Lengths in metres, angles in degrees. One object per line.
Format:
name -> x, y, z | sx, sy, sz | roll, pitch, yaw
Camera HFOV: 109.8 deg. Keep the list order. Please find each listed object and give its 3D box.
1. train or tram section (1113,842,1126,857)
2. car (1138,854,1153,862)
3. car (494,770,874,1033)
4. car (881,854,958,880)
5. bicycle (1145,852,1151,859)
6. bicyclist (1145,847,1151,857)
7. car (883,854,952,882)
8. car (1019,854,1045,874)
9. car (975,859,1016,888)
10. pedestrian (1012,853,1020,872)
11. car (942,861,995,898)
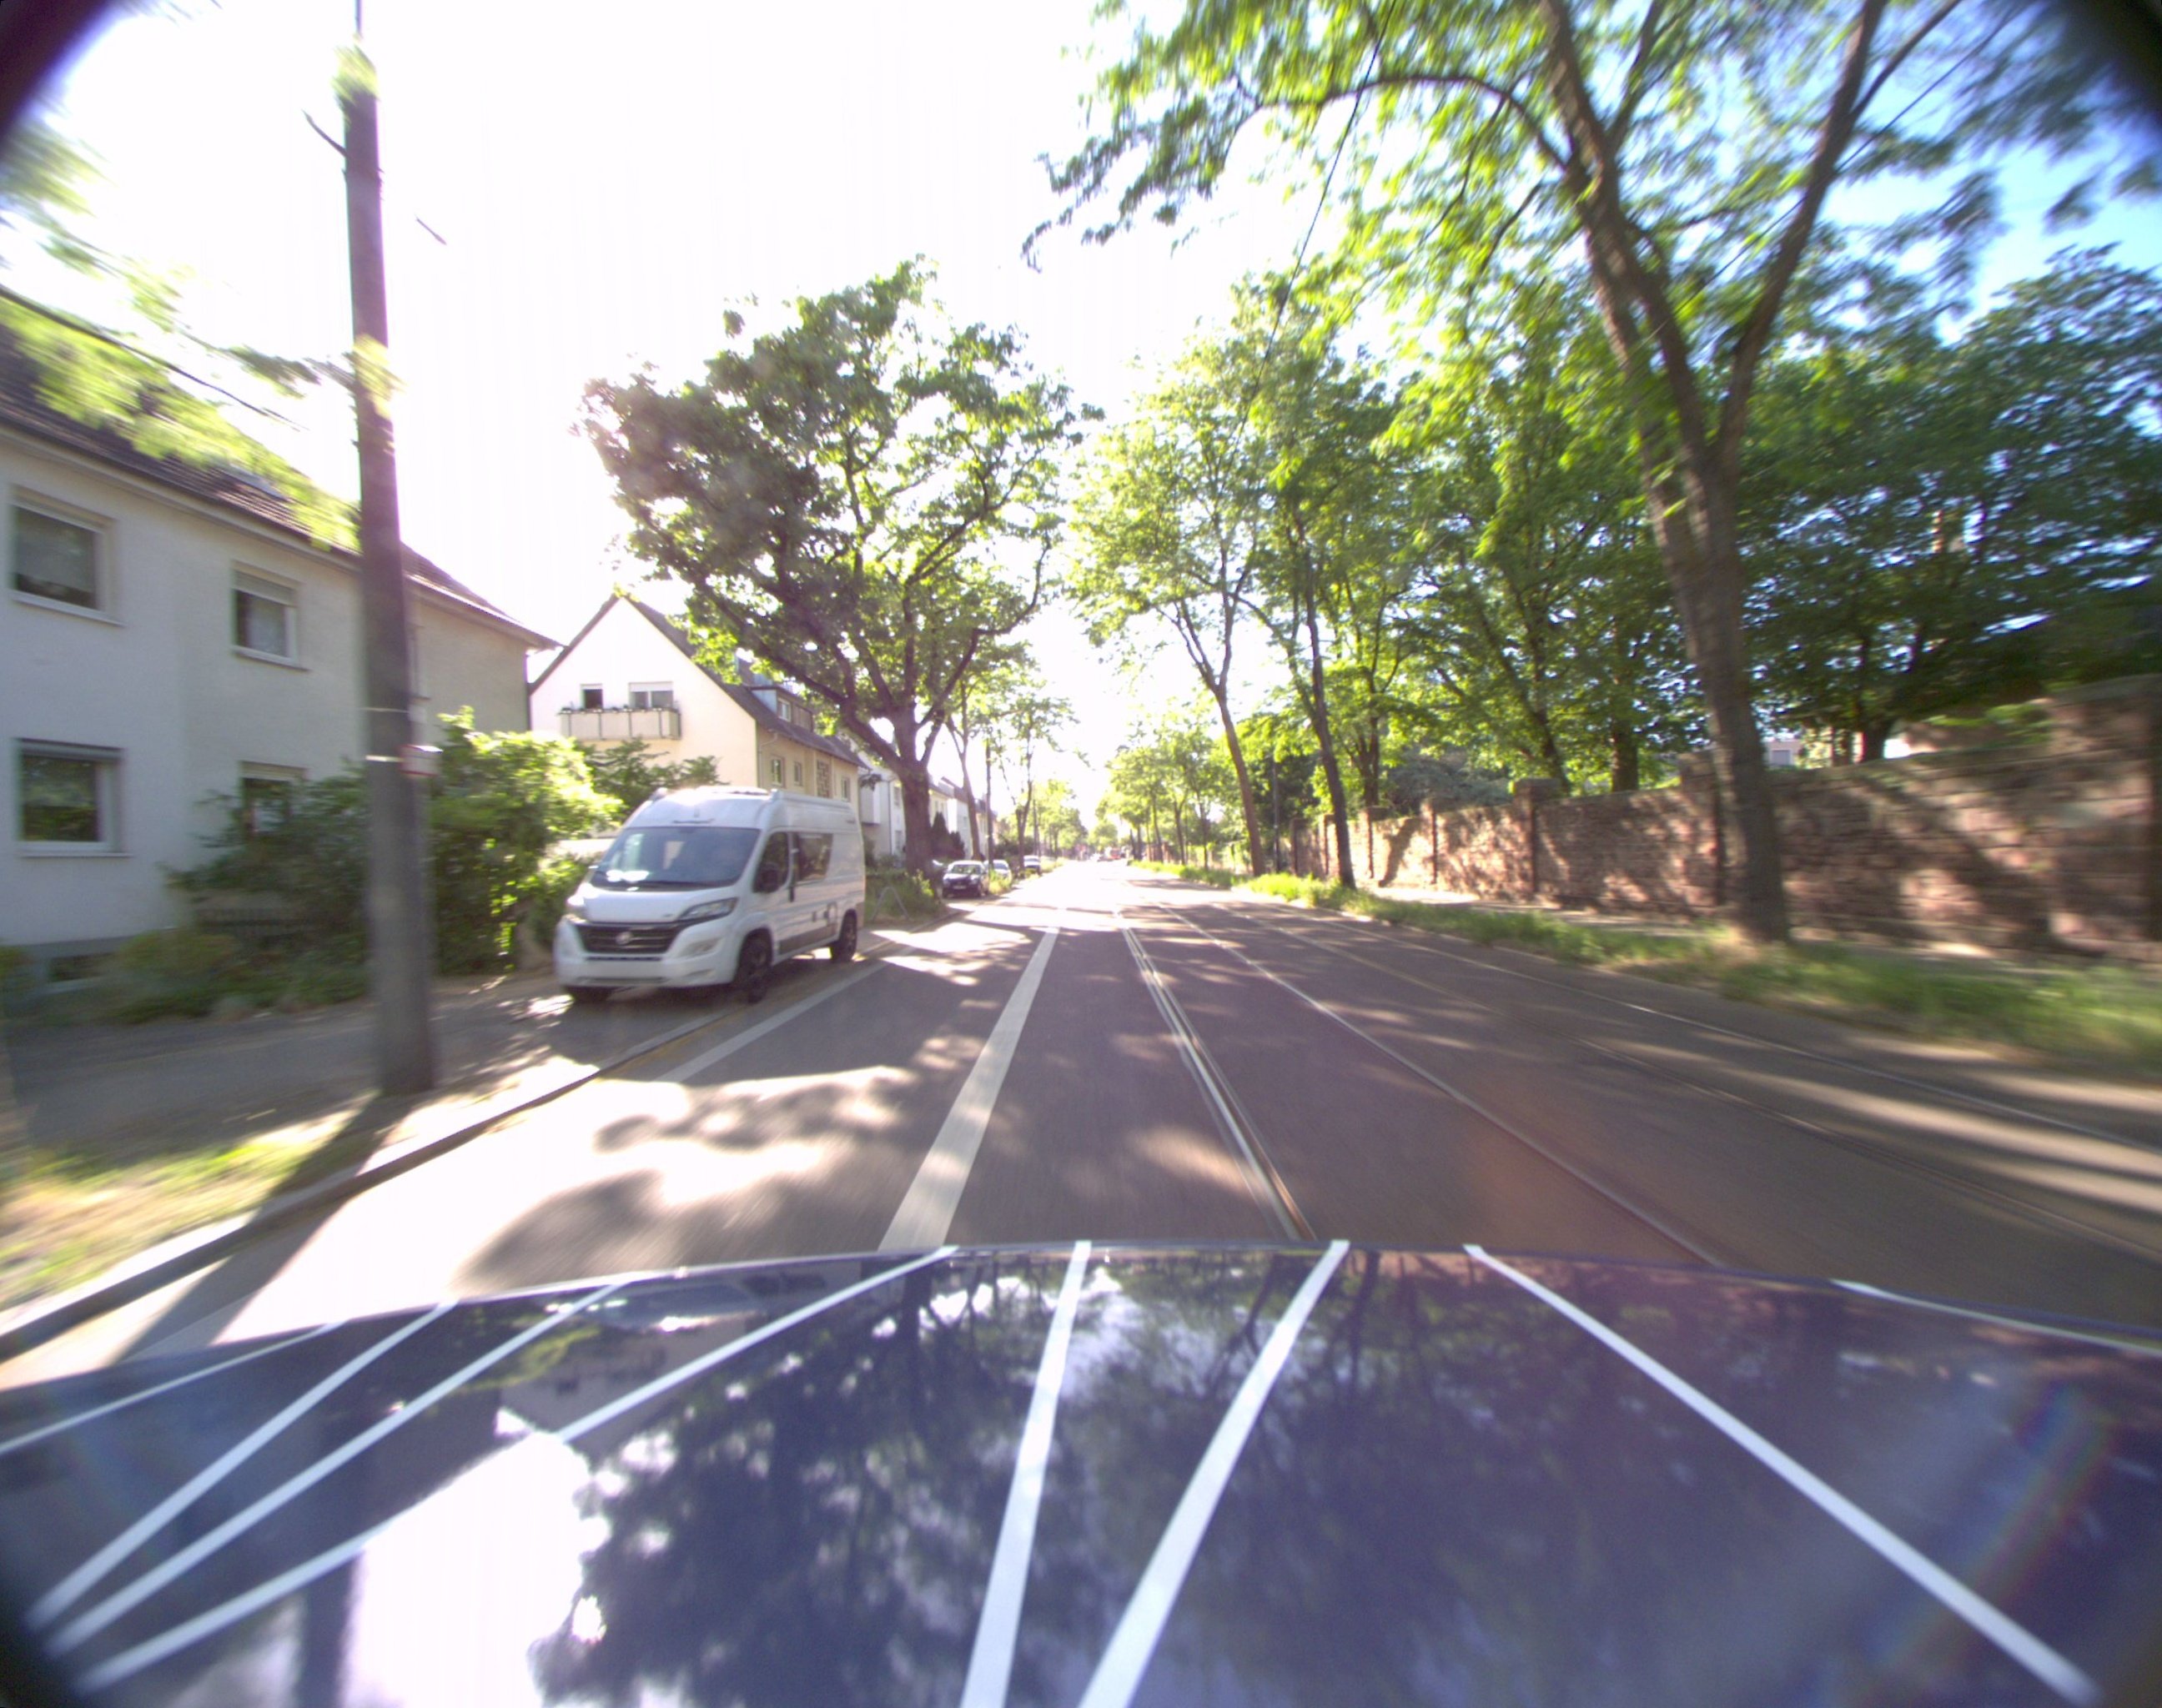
train or tram section -> 9.411, -1.068, 187.686 | 2.811, 3.439, 6.668 | -2, 0, 1
car -> 13.403, 0.896, 157.935 | 1.750, 1.515, 4.076 | -1, 0, 24
car -> -4.736, 0.472, 10.415 | 2.251, 2.638, 5.585 | 0, 0, 0
car -> -10.215, 0.818, 48.367 | 4.431, 1.481, 1.859 | 1, 0, 3
bicycle -> 10.443, 0.224, 117.941 | 0.720, 0.968, 1.888 | -3, 1, 1
bicyclist -> 10.416, -0.258, 117.939 | 0.711, 1.490, 0.956 | -3, 1, 1
car -> -9.517, 0.803, 44.459 | 3.749, 1.481, 1.739 | 2, 0, -5
car -> -4.316, 0.848, 67.678 | 1.999, 1.694, 4.477 | 2, 0, 0
car -> -4.619, 1.038, 41.653 | 1.788, 1.440, 4.300 | 2, 0, -1
pedestrian -> -6.505, 0.812, 76.003 | 0.627, 1.859, 0.732 | 2, 1, 0
car -> -4.647, 1.039, 31.840 | 1.631, 1.389, 3.645 | 2, 0, 0
